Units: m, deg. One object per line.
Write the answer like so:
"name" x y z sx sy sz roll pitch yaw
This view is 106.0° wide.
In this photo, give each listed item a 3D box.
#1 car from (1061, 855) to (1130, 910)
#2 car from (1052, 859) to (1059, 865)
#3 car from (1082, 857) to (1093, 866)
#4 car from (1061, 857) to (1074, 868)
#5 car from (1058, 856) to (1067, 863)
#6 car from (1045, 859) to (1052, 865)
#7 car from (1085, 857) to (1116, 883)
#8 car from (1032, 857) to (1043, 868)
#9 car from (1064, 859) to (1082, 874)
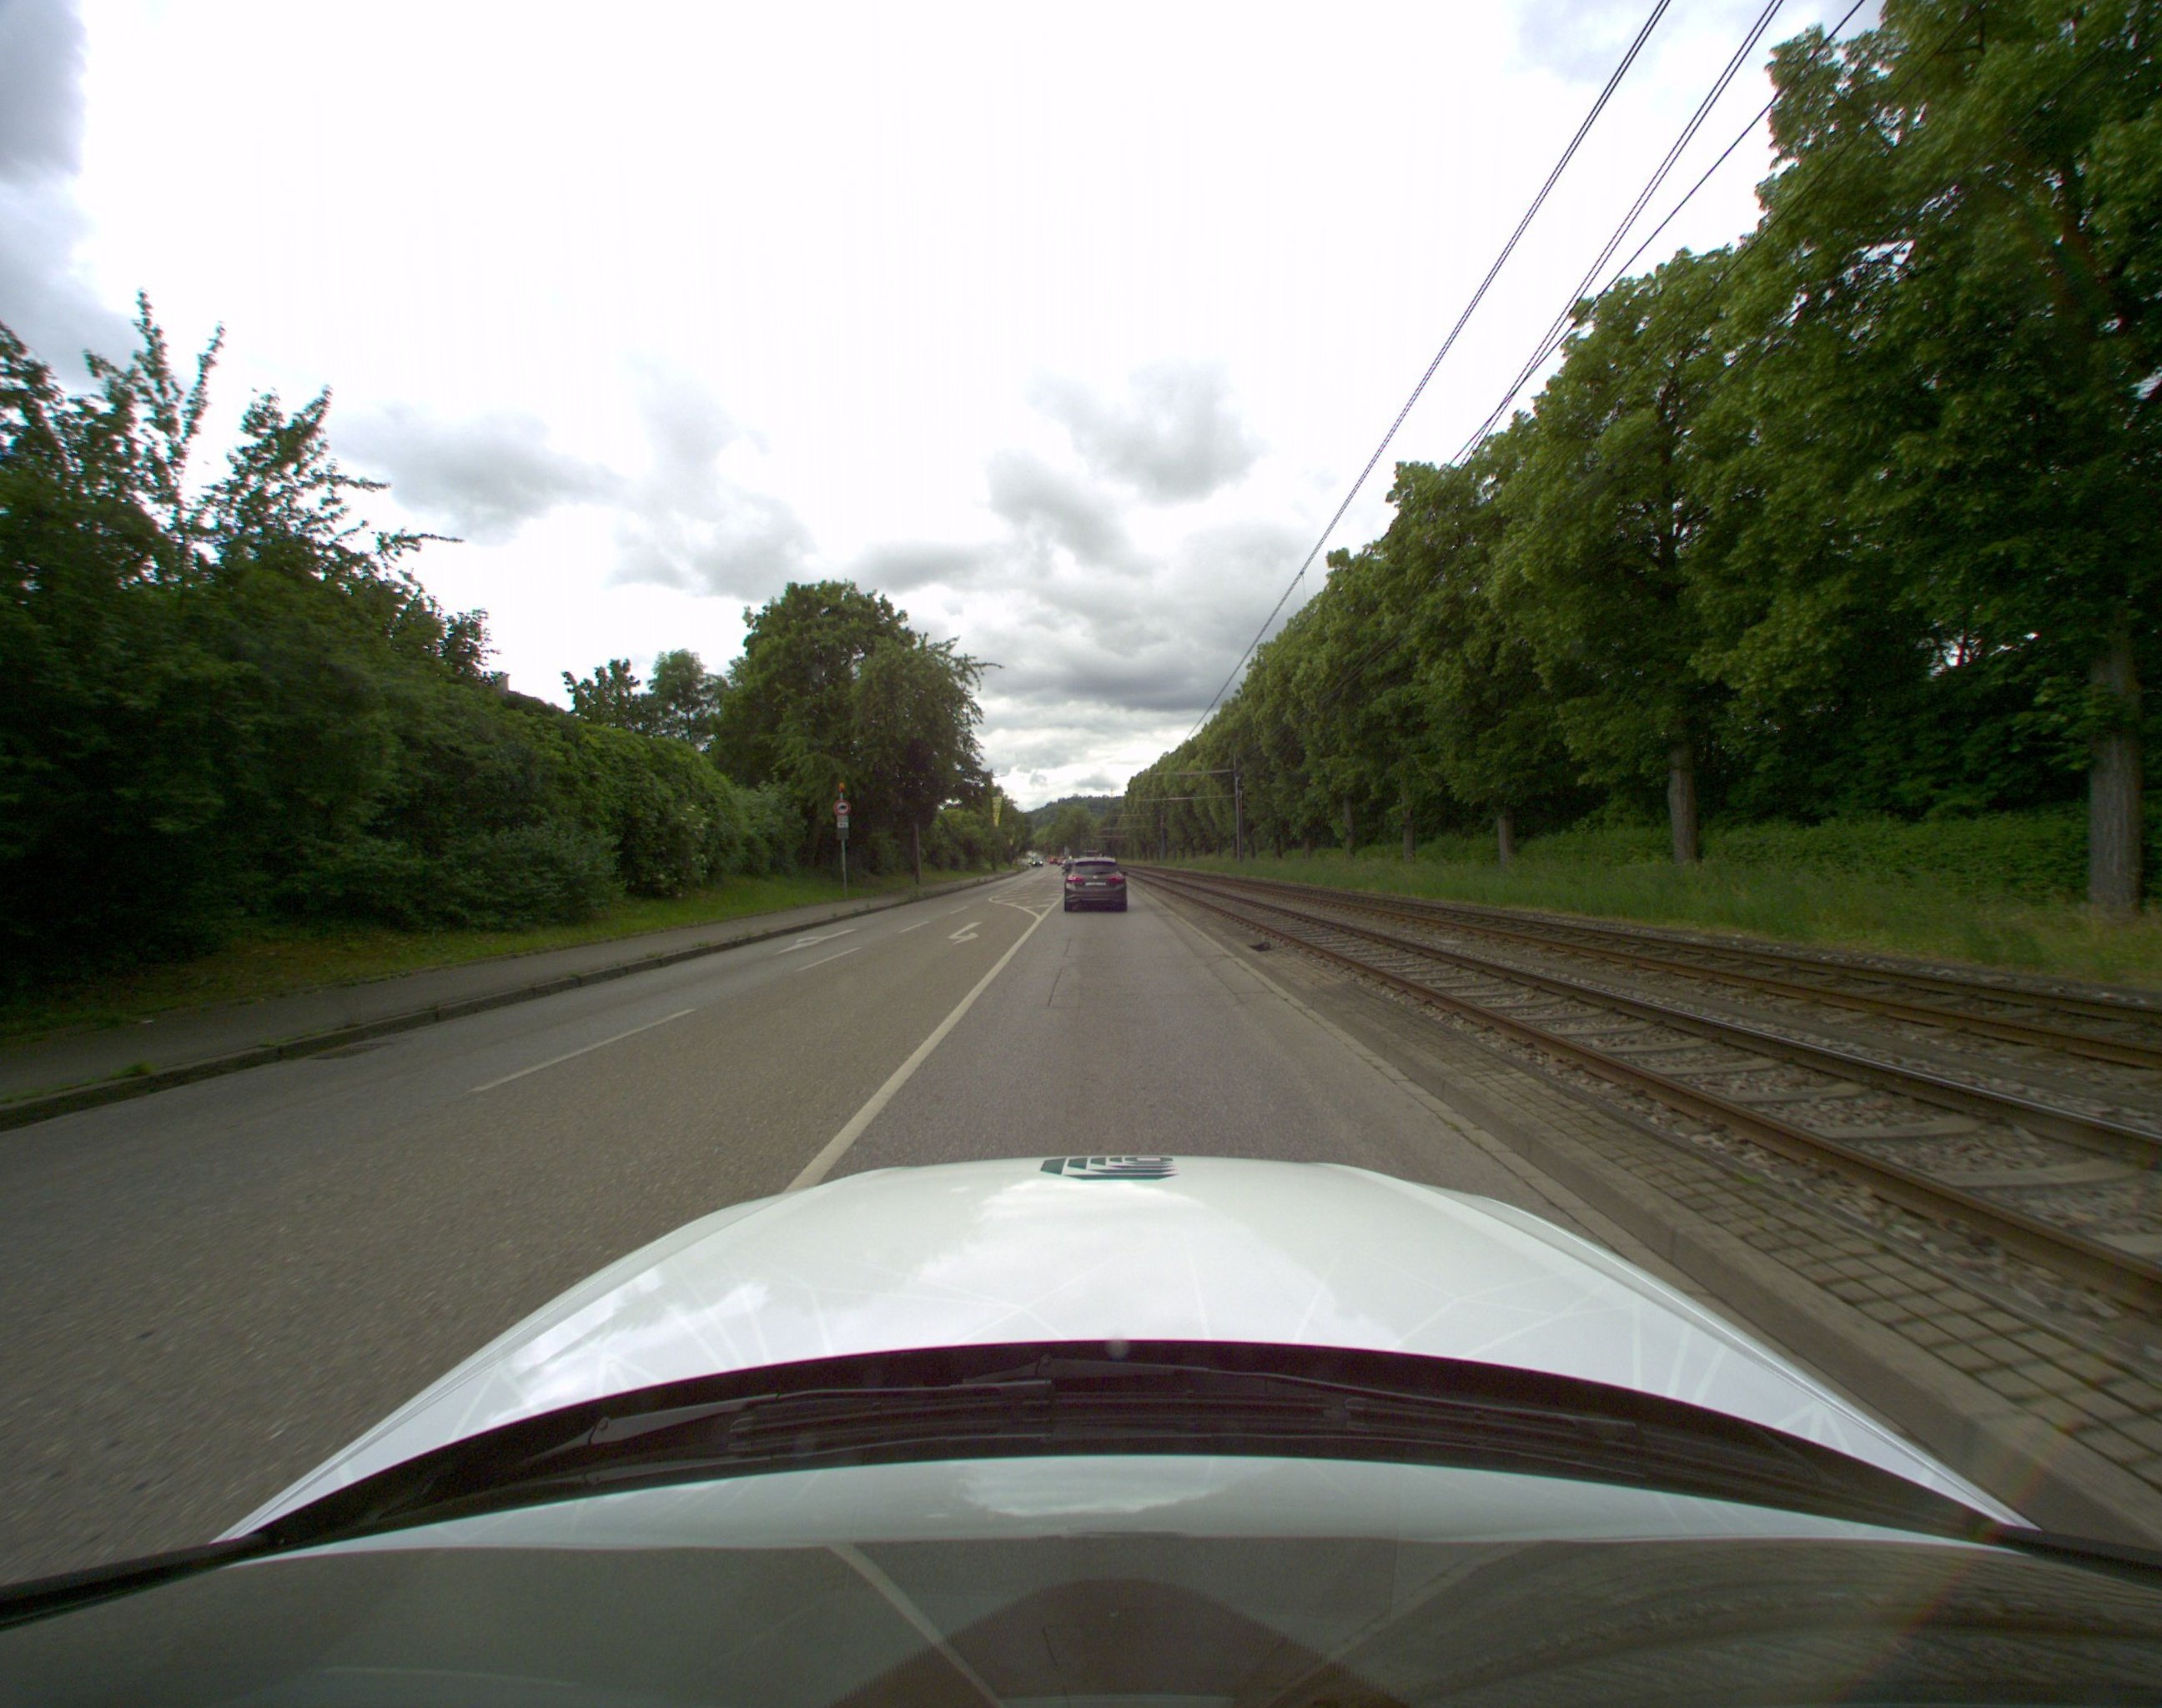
"car" 0.451 0.779 24.137 1.844 1.493 4.001 -1 0 1
"car" -6.988 2.144 220.321 1.694 1.714 4.000 -1 0 1
"car" 1.121 1.161 133.443 1.694 1.443 4.000 -1 0 1
"car" -1.797 1.173 111.547 1.694 1.443 4.000 -1 0 1
"car" -3.837 1.194 170.321 1.788 1.510 4.000 -1 0 1
"car" -9.274 2.162 231.014 1.694 1.714 4.000 -1 0 1
"car" 1.137 0.919 48.211 1.694 1.443 3.999 -1 0 0
"car" -8.345 1.657 156.788 1.988 2.036 5.112 -3 0 -1
"car" -0.795 1.212 80.382 1.695 1.443 3.997 -1 0 -1
